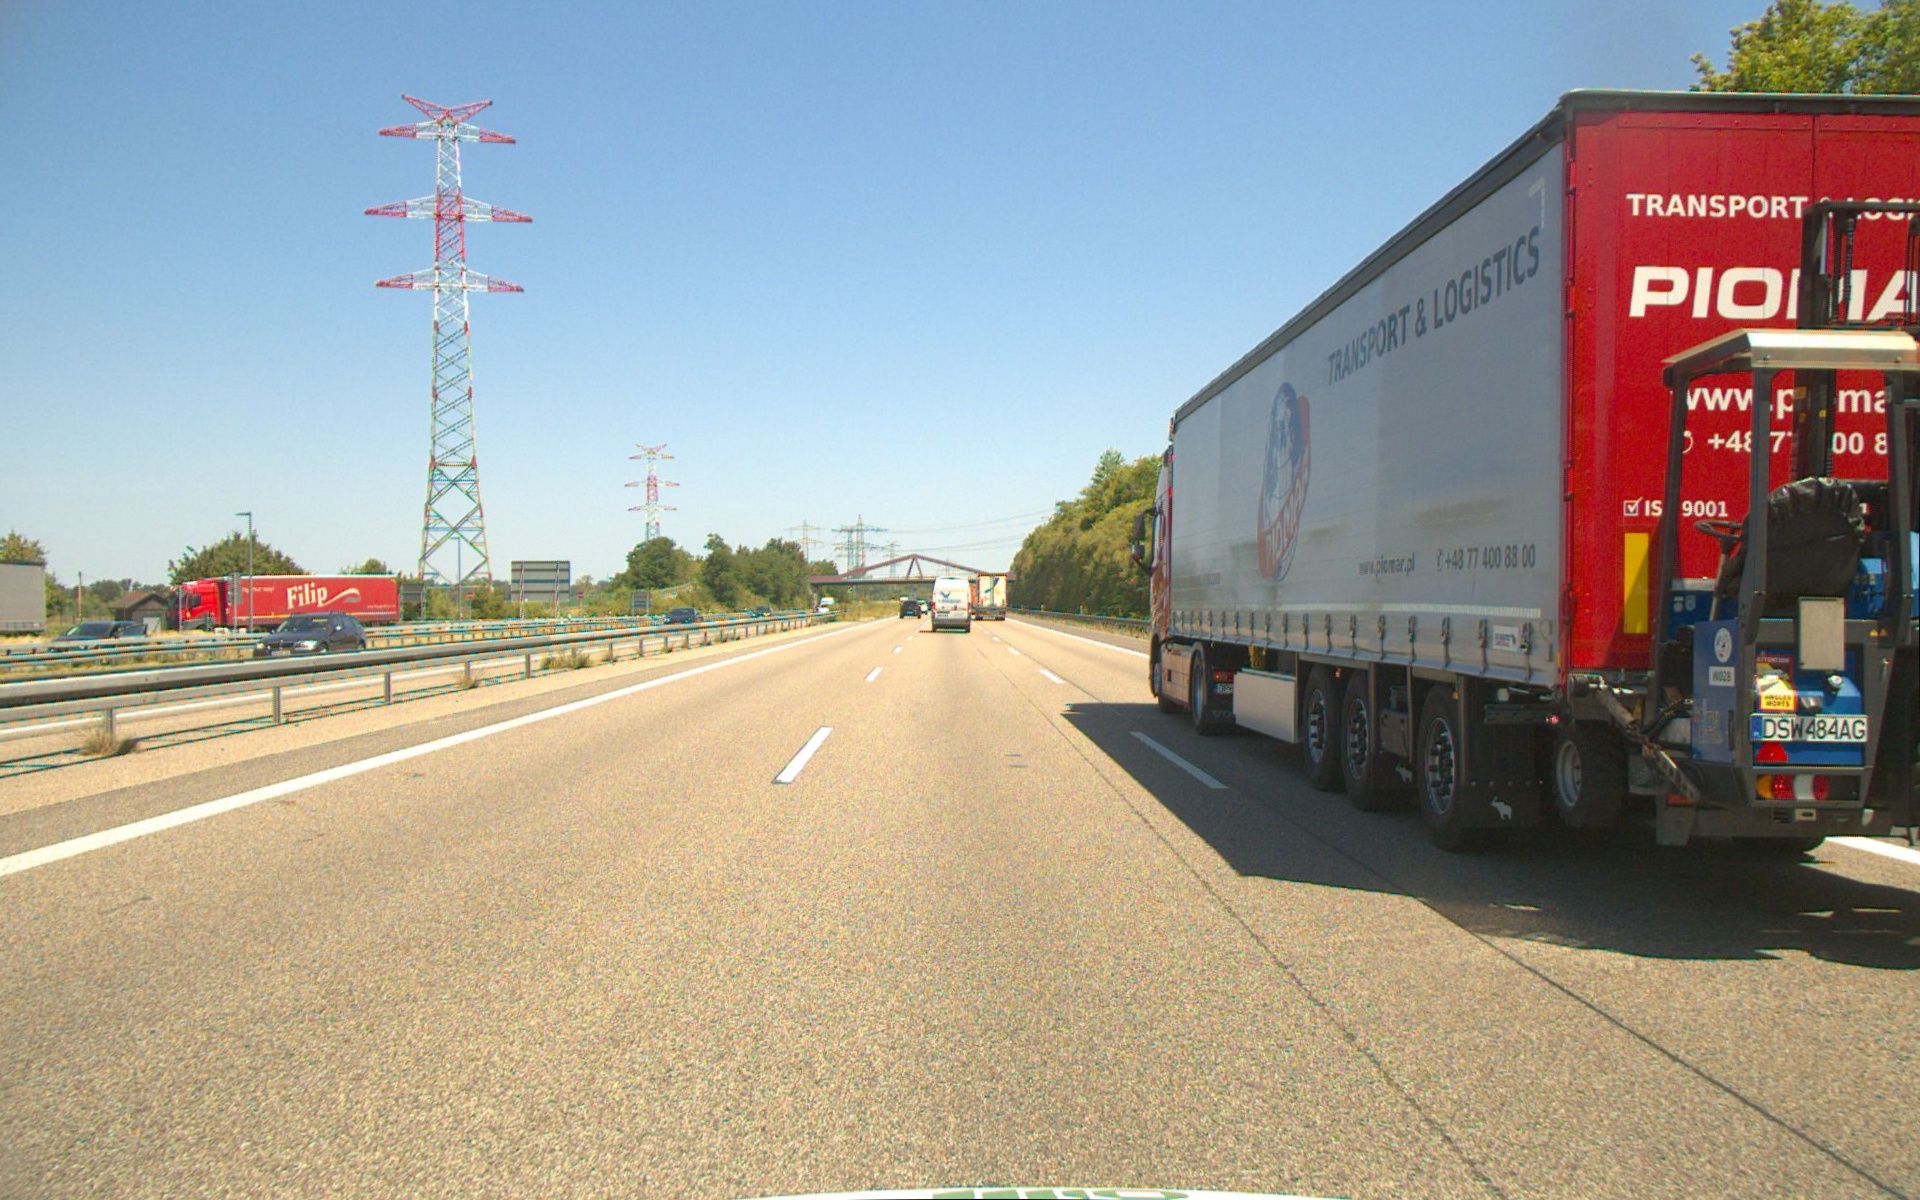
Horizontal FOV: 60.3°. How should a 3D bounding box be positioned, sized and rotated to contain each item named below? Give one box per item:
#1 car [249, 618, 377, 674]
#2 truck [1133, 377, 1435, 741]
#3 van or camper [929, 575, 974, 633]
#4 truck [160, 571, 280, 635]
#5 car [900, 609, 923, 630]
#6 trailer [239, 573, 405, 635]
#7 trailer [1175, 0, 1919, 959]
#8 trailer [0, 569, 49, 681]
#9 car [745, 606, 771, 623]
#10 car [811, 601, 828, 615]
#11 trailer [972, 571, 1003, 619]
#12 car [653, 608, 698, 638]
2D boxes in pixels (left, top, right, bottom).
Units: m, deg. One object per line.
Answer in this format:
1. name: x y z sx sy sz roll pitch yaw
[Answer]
1. car: -17.272 1.189 44.363 1.706 1.298 4.317 -3 0 -1
2. truck: 3.947 -0.440 21.774 2.448 3.988 7.095 0 0 -1
3. van or camper: -0.477 0.194 85.595 2.185 2.831 5.422 1 0 -1
4. truck: -49.186 0.244 110.097 3.063 4.120 6.626 1 0 33
5. car: -4.596 1.829 156.597 1.941 1.849 3.813 1 0 1
6. trailer: -44.858 0.375 116.792 3.066 4.126 11.281 1 0 33
7. trailer: 4.100 -0.492 13.938 2.440 3.978 14.242 0 0 -1
8. trailer: -44.370 1.076 73.045 3.235 4.960 9.677 1 0 -3
9. car: -18.154 1.254 148.742 1.831 1.422 4.545 -2 0 -1
10. car: -18.618 1.056 219.404 1.914 1.842 5.045 1 0 -2
11. trailer: 2.418 -0.439 150.470 2.583 4.131 12.365 1 0 0
12. car: -17.003 1.362 99.093 1.932 1.675 5.015 1 0 -1
